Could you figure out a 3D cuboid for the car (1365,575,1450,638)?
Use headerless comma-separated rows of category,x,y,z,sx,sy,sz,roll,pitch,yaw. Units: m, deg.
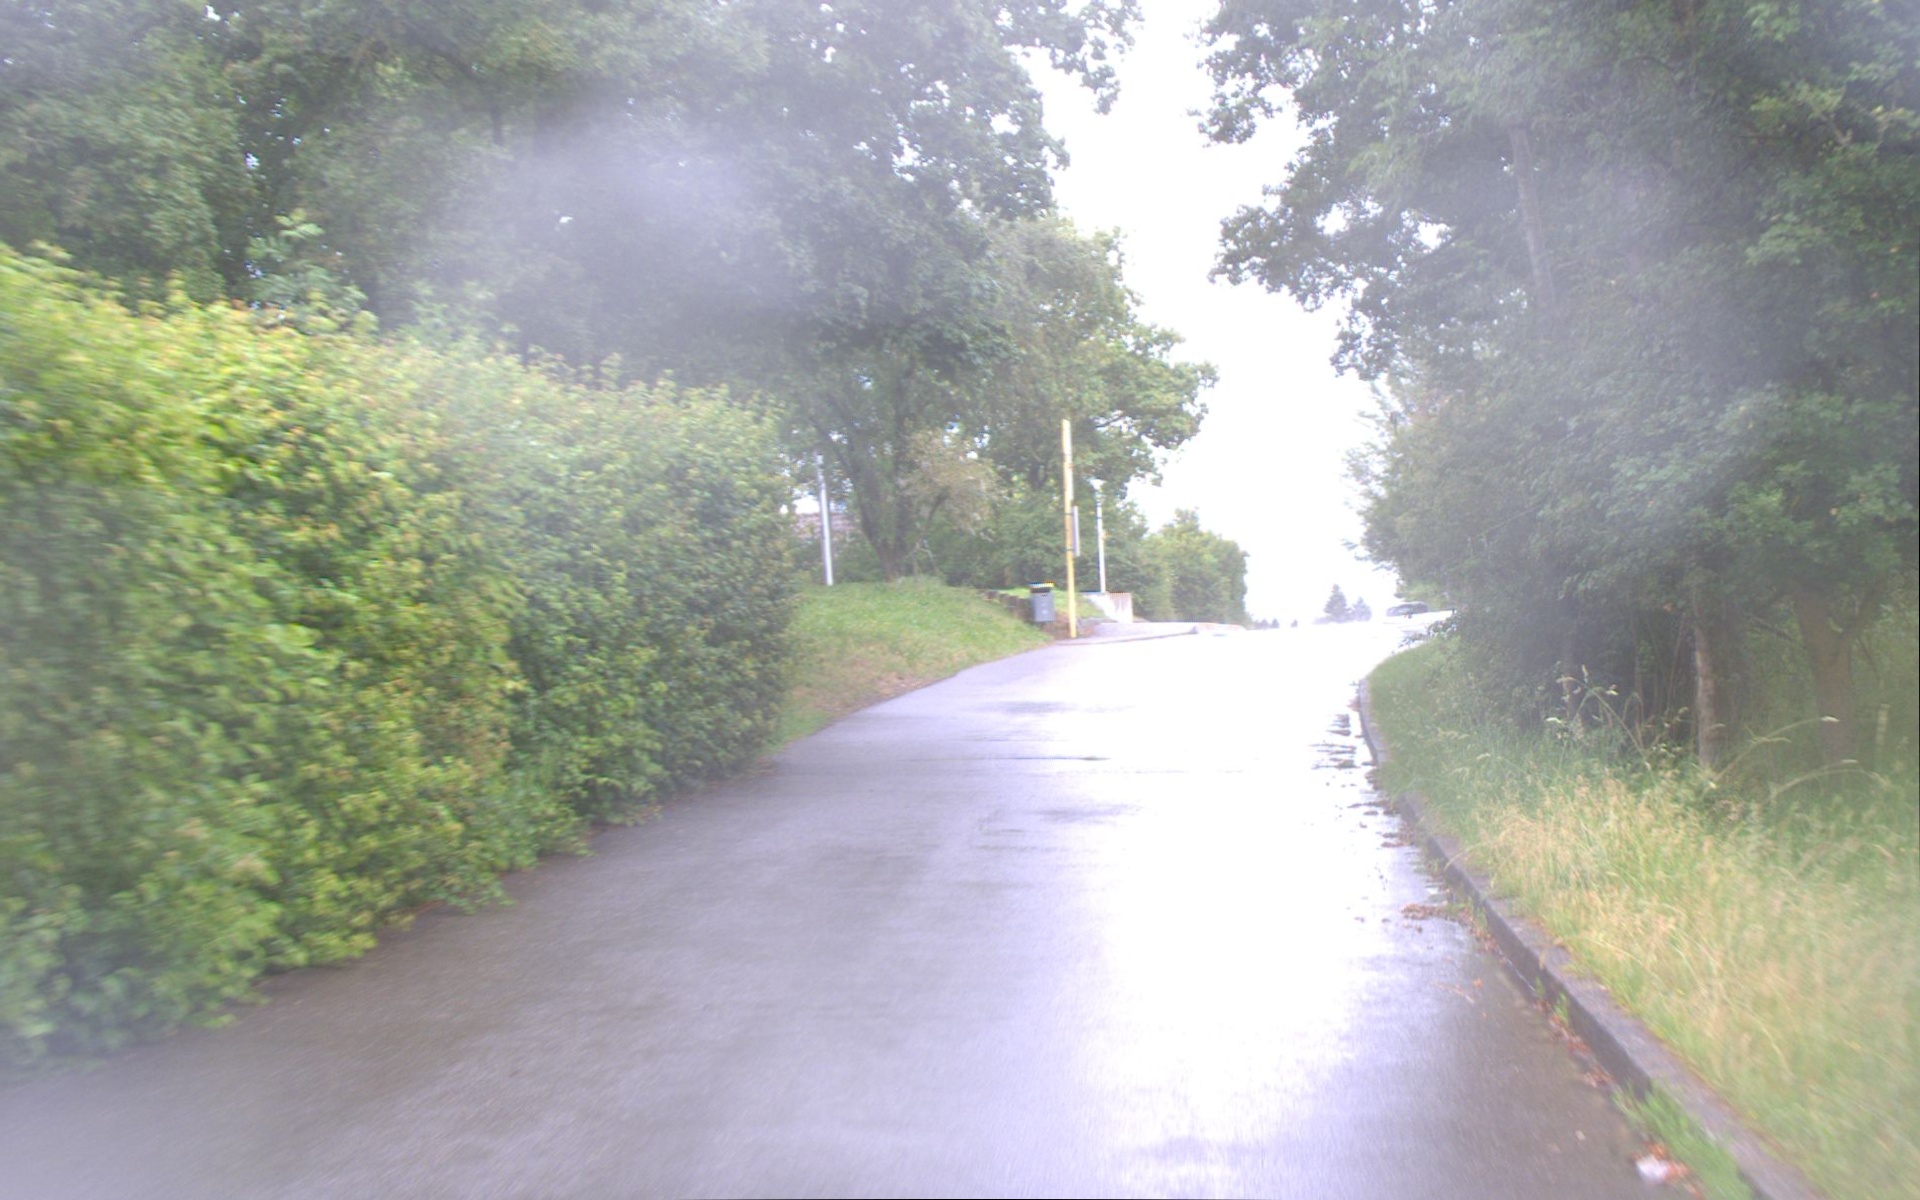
car,12.882,0.203,98.820,1.994,1.578,3.997,-2,-3,13
